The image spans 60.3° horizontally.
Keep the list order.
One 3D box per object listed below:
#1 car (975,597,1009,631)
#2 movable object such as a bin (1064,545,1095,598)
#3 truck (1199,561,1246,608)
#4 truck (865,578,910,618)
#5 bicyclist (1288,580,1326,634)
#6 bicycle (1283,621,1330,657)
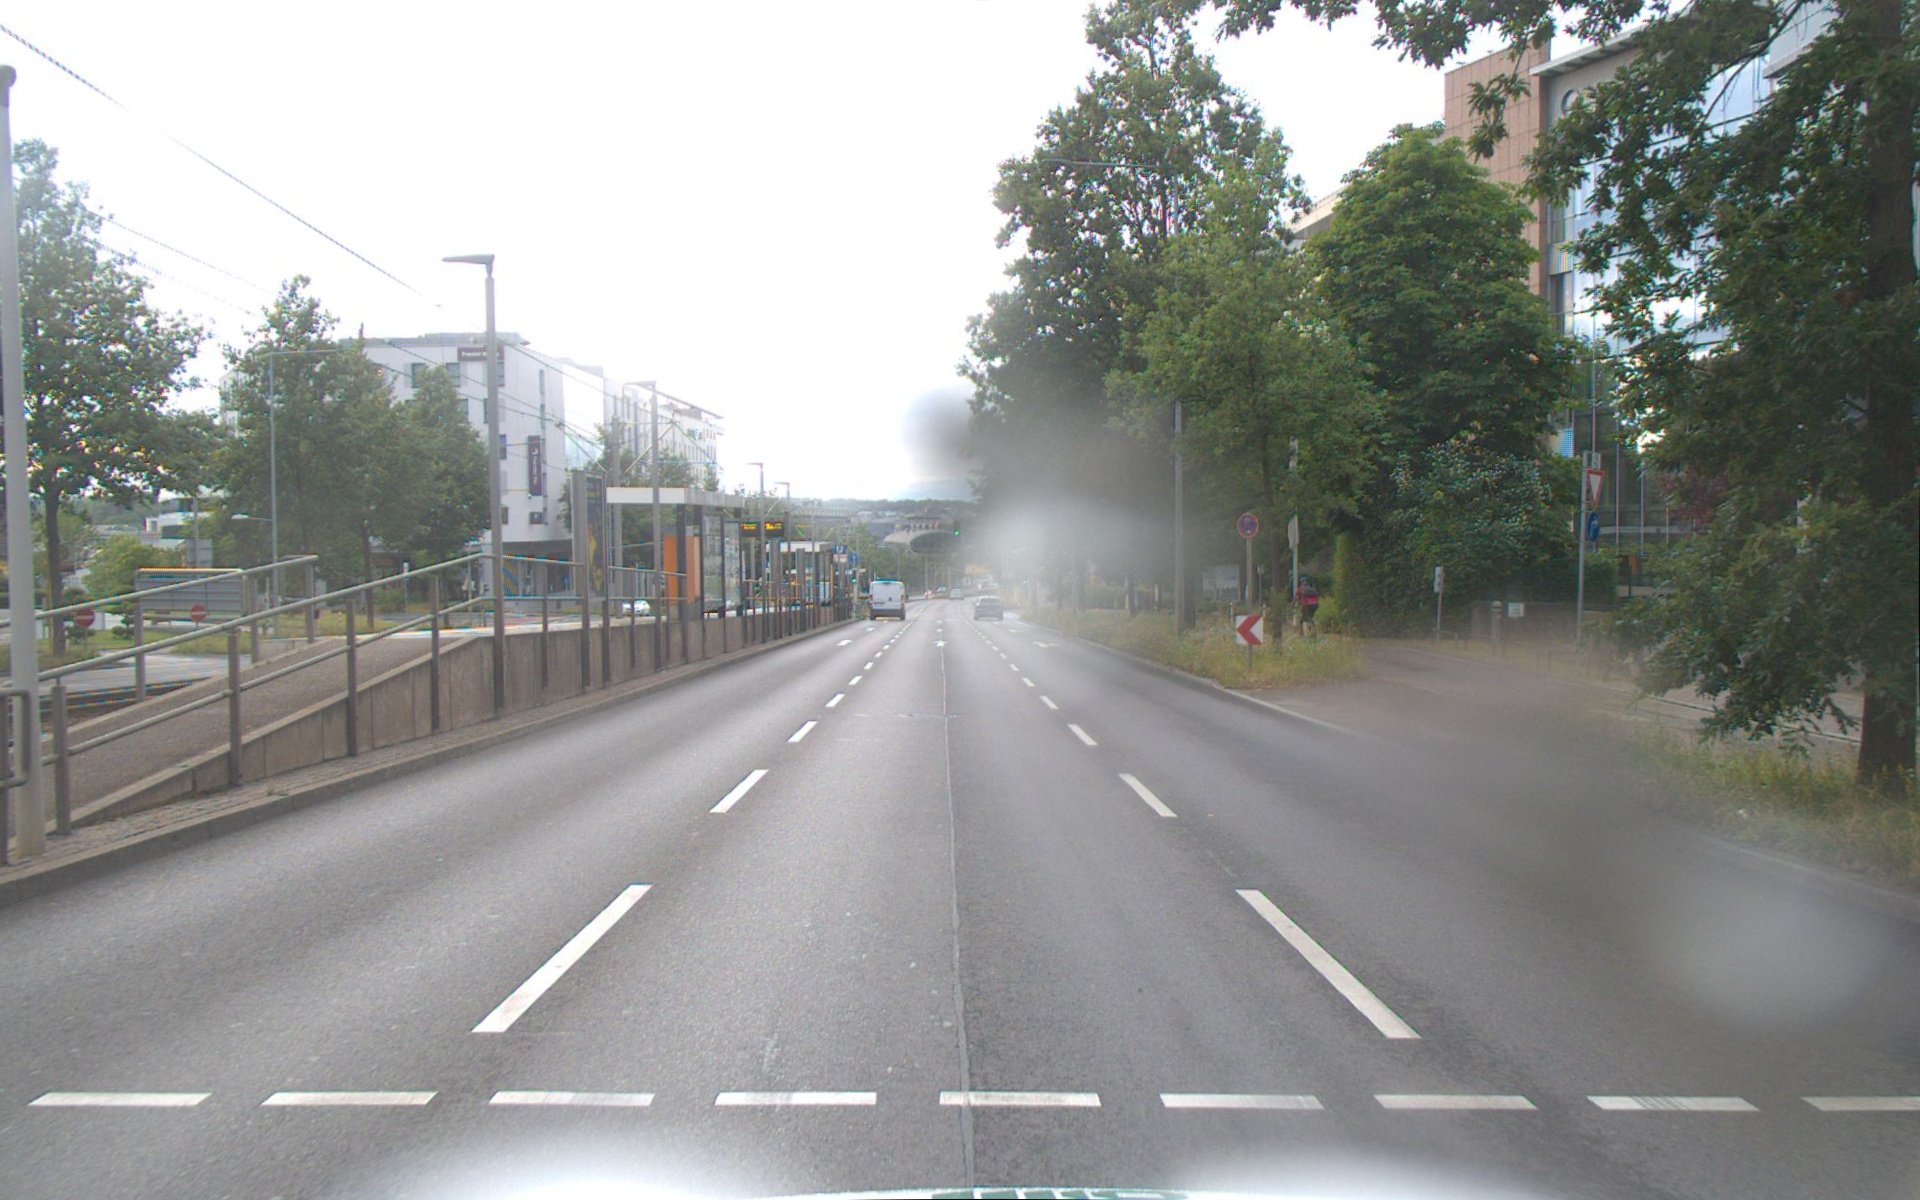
[{"bbox_3d":[2.016,0.866,102.168,1.952,2.049,3.935,1,0,3],"label":"car"},{"bbox_3d":[13.575,-3.152,188.596,3.221,5.784,8.766,1,0,2],"label":"movable object such as a bin"},{"bbox_3d":[14.517,-0.836,91.614,1.712,2.562,3.997,1,0,-4],"label":"truck"},{"bbox_3d":[-4.298,-0.096,98.529,2.311,2.301,5.306,1,0,1],"label":"truck"},{"bbox_3d":[8.599,0.169,41.016,0.642,1.310,1.219,1,0,-1],"label":"bicyclist"},{"bbox_3d":[8.581,0.954,41.052,0.654,0.823,2.318,1,0,-1],"label":"bicycle"}]
